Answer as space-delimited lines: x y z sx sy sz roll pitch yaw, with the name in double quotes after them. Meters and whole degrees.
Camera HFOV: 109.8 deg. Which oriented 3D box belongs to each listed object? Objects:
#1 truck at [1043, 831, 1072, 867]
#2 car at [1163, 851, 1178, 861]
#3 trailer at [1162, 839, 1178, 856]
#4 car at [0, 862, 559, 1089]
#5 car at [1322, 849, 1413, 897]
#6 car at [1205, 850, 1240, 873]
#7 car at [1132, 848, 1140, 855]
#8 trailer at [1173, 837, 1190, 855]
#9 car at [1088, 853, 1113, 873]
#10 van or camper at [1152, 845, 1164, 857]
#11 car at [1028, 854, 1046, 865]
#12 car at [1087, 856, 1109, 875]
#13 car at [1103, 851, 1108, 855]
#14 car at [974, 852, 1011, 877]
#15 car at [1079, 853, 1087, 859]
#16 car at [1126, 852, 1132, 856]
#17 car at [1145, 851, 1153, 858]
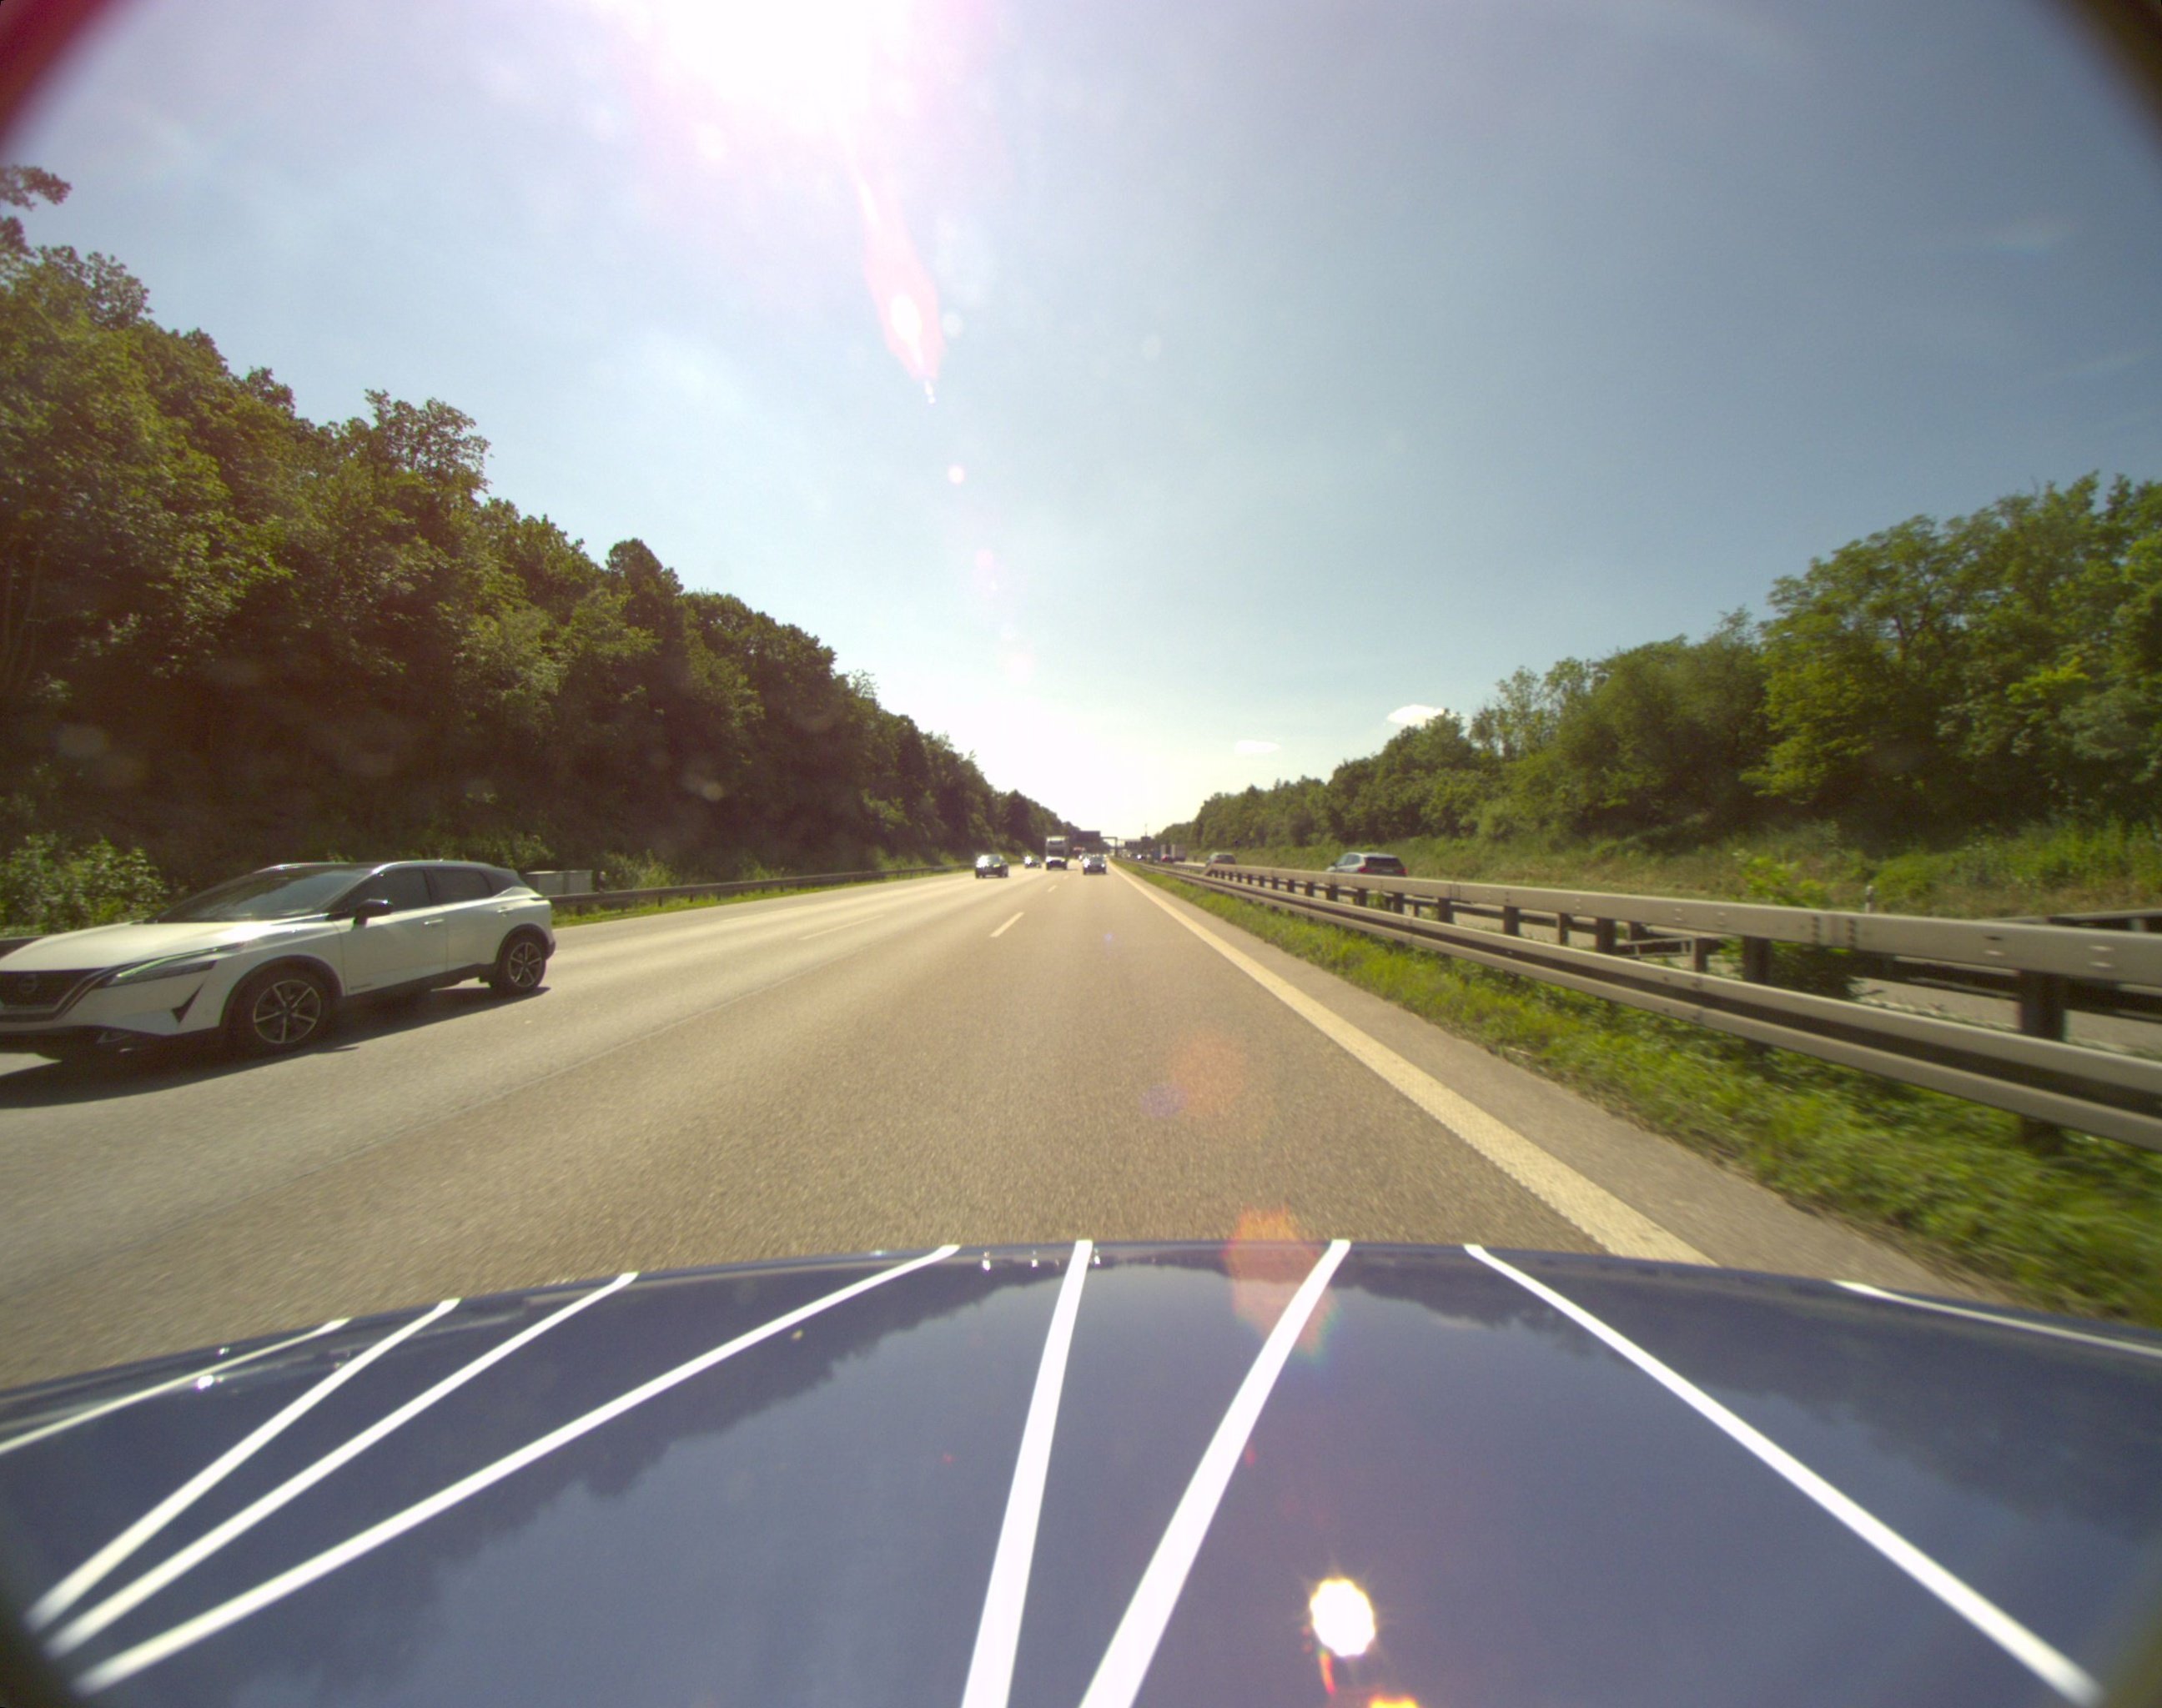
-2.420 -0.503 79.694 2.676 3.661 6.483 -1 0 1 "truck"
12.821 0.275 108.539 1.718 1.390 4.149 0 0 1 "car"
22.689 -1.581 194.046 2.621 4.035 14.168 2 0 1 "trailer"
-7.557 0.919 7.548 1.848 1.559 4.035 -2 0 1 "car"
10.325 0.636 27.733 1.766 1.608 4.231 0 0 1 "car"
11.038 0.551 59.503 1.811 1.632 4.800 2 0 1 "car"
15.035 -0.650 207.249 1.932 1.969 5.234 2 0 1 "car"
21.717 -1.758 164.987 2.719 3.787 7.692 1 0 1 "trailer"
1.479 0.650 58.437 1.814 1.483 3.728 -1 0 1 "car"
18.297 -0.664 180.219 2.202 2.795 6.797 2 0 2 "van or camper"
-5.492 0.668 94.262 1.916 1.390 4.138 -1 0 1 "car"
1.198 0.811 54.554 1.537 1.265 2.769 -1 0 1 "car"
6.733 -0.292 208.600 1.591 1.291 3.382 0 0 1 "car"
-6.422 0.728 55.815 1.924 1.659 4.687 -2 0 3 "car"
0.509 0.354 171.696 1.831 1.346 3.679 0 0 1 "car"
16.769 -0.162 264.329 1.812 1.397 4.819 0 0 1 "car"
13.818 0.091 155.288 1.437 1.519 3.457 0 0 1 "car"
